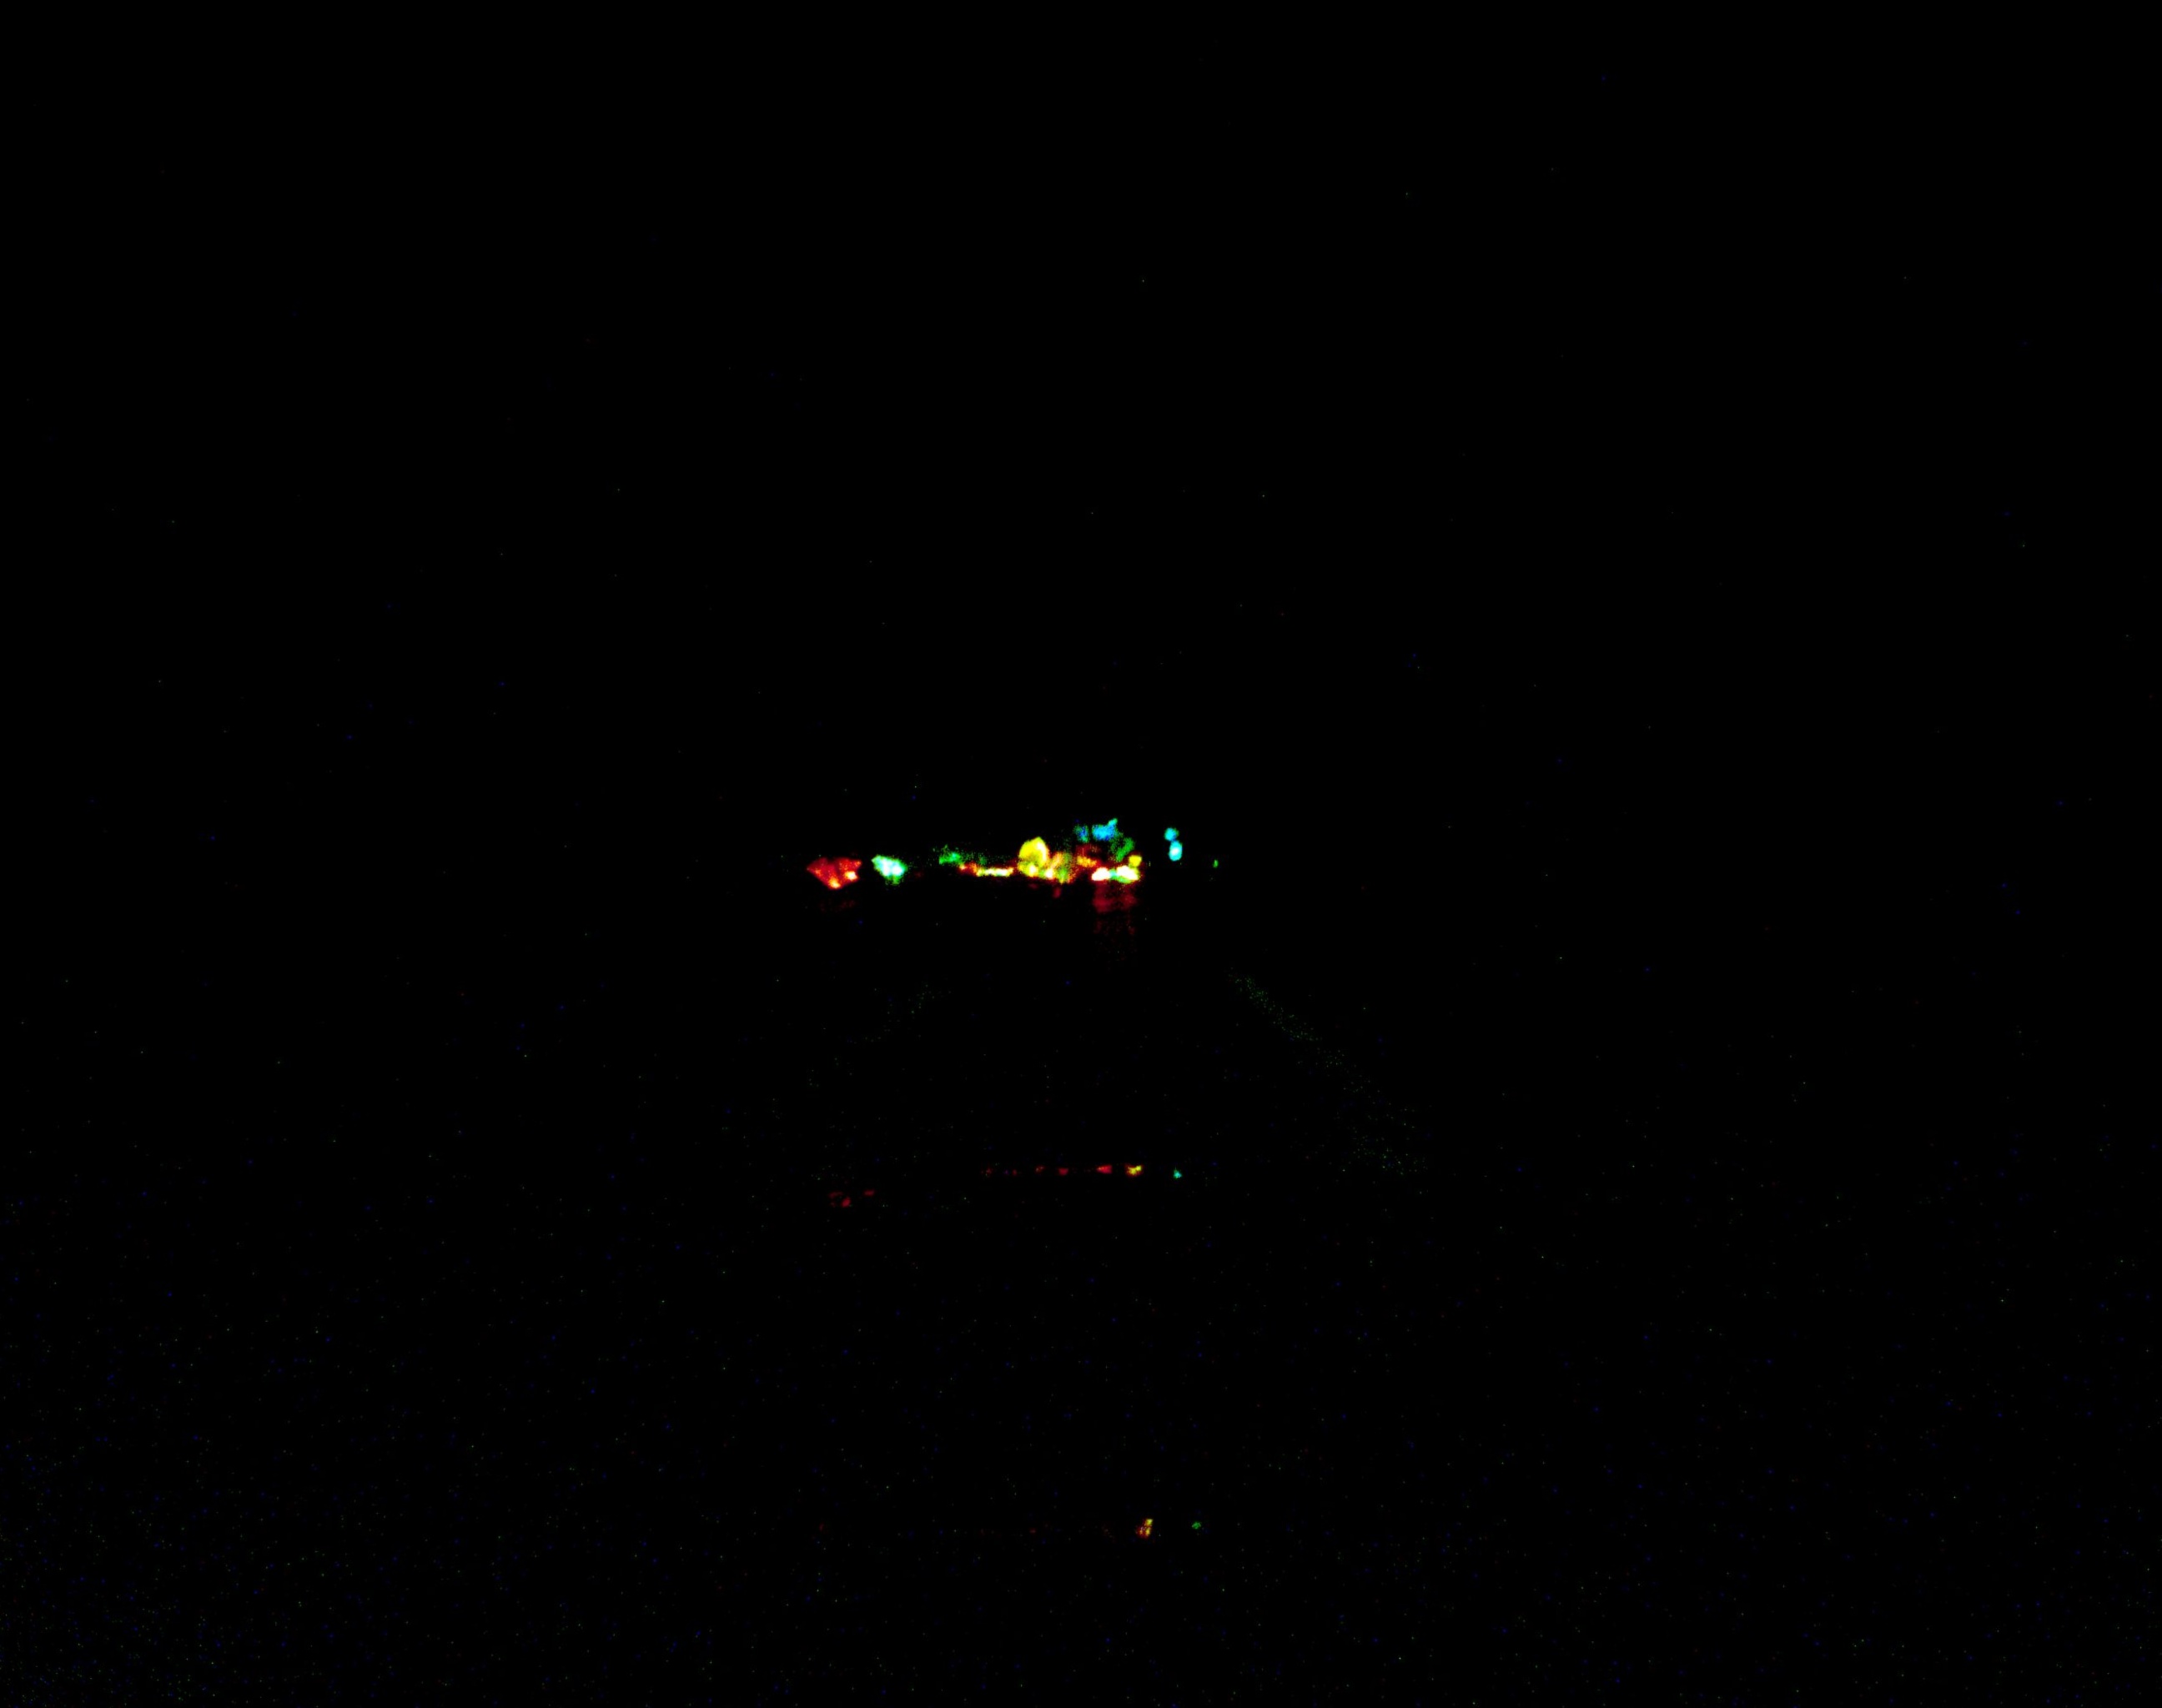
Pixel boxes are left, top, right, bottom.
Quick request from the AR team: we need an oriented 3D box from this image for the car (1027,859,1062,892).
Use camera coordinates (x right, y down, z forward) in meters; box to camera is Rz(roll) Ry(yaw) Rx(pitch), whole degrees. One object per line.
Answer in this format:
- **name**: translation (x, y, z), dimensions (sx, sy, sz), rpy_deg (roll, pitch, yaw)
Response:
- **car**: translation (-2.343, 1.386, 53.164), dimensions (2.120, 2.014, 4.643), rpy_deg (-1, -1, -1)

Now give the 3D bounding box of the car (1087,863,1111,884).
- **car**: translation (1.733, 1.875, 78.960), dimensions (2.120, 2.014, 4.643), rpy_deg (-1, -1, -1)

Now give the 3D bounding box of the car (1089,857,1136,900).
- **car**: translation (1.390, 1.079, 36.649), dimensions (1.986, 1.807, 4.001), rpy_deg (-1, -1, 1)

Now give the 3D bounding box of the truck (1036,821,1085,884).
- **truck**: translation (-1.826, -0.082, 78.472), dimensions (4.196, 5.648, 11.468), rpy_deg (-1, -1, 1)

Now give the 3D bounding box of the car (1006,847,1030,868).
- **car**: translation (-5.756, 0.315, 74.417), dimensions (1.988, 1.807, 3.997), rpy_deg (-1, -1, -2)

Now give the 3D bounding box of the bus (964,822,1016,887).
- **bus**: translation (-6.898, 0.083, 62.957), dimensions (3.089, 4.508, 10.904), rpy_deg (-1, -1, -2)

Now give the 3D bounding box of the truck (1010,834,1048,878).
- **truck**: translation (-6.924, 0.333, 110.035), dimensions (4.196, 5.648, 11.468), rpy_deg (-1, -1, 1)

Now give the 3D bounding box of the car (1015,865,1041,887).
- **car**: translation (-4.407, 1.837, 68.470), dimensions (1.988, 1.807, 3.997), rpy_deg (-1, -1, -2)

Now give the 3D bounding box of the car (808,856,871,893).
- **car**: translation (-10.920, 0.913, 37.131), dimensions (1.990, 1.596, 3.993), rpy_deg (-1, -1, -5)
